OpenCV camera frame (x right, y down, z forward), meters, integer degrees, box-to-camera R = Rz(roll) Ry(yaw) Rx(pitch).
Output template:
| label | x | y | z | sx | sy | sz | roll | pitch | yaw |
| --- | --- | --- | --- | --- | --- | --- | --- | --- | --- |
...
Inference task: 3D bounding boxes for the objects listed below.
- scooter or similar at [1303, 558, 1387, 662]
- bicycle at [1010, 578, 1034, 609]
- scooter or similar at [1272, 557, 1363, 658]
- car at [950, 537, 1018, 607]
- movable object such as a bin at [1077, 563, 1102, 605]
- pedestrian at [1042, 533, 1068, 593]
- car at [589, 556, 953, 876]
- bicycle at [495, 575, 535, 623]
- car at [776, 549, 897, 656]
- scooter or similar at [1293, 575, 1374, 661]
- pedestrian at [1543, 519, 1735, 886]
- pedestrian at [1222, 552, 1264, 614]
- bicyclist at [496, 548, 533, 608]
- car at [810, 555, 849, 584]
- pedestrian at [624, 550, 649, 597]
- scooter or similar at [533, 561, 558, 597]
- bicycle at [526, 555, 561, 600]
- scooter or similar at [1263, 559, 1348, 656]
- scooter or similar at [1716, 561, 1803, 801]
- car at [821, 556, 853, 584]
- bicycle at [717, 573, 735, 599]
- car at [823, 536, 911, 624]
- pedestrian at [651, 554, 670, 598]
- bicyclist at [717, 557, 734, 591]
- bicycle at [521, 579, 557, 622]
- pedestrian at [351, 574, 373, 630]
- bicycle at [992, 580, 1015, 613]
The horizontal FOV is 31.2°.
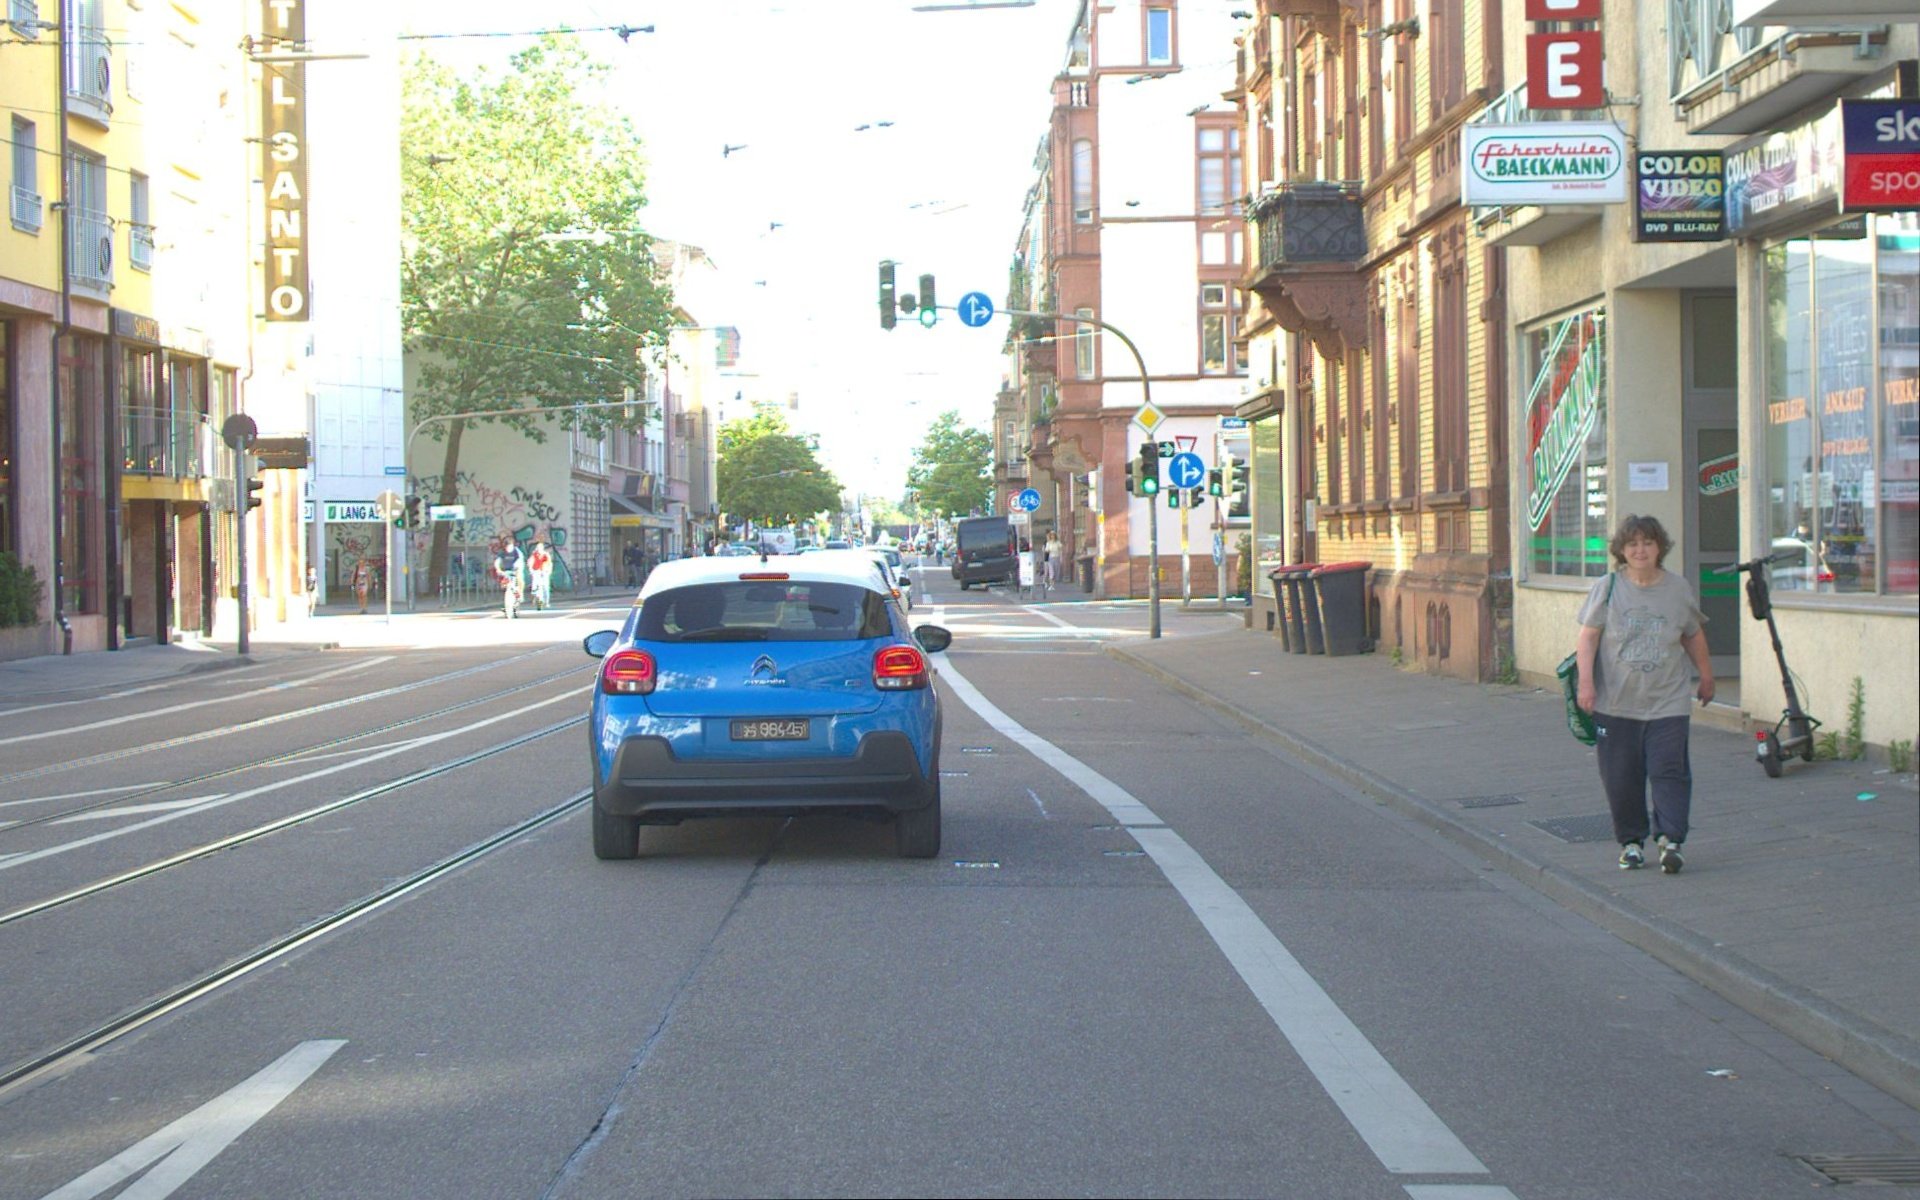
| label | x | y | z | sx | sy | sz | roll | pitch | yaw |
| --- | --- | --- | --- | --- | --- | --- | --- | --- | --- |
| scooter or similar | 4.504 | 0.109 | 40.244 | 0.790 | 1.144 | 0.790 | -4 | 1 | -2 |
| bicycle | 1.852 | -0.197 | 102.658 | 0.431 | 0.944 | 1.764 | 0 | 0 | -8 |
| scooter or similar | 4.337 | 0.087 | 41.755 | 0.933 | 1.144 | 0.650 | -4 | 1 | -2 |
| car | 0.825 | -1.010 | 123.027 | 2.271 | 2.428 | 5.720 | 0 | 1 | -1 |
| movable object such as a bin | 3.642 | -0.451 | 96.841 | 0.666 | 1.150 | 0.594 | 0 | 1 | 0 |
| pedestrian | 2.809 | -1.093 | 101.847 | 0.705 | 1.776 | 0.673 | -1 | 1 | -2 |
| car | -0.989 | 0.520 | 18.002 | 1.673 | 1.472 | 4.001 | 1 | 1 | -3 |
| bicycle | -10.267 | -0.033 | 79.339 | 0.730 | 1.084 | 2.062 | -1 | 1 | -2 |
| car | -1.785 | 0.014 | 49.728 | 1.667 | 1.473 | 4.000 | -1 | 1 | -2 |
| scooter or similar | 4.458 | 0.213 | 41.067 | 0.790 | 0.954 | 0.680 | -4 | 1 | -2 |
| pedestrian | 2.954 | 0.431 | 15.007 | 0.648 | 1.555 | 0.781 | -1 | 1 | -2 |
| pedestrian | 6.687 | -0.409 | 81.209 | 0.938 | 1.452 | 0.823 | 0 | 1 | 1 |
| bicyclist | -10.275 | -0.517 | 79.268 | 0.724 | 1.376 | 1.228 | 0 | 1 | -2 |
| car | -6.789 | -1.586 | 178.960 | 1.985 | 1.497 | 4.309 | -1 | 1 | -2 |
| pedestrian | -12.256 | -0.995 | 130.164 | 0.682 | 1.759 | 1.025 | 0 | 1 | 10 |
| scooter or similar | -14.792 | -0.743 | 122.680 | 0.788 | 1.267 | 1.075 | -1 | 1 | -1 |
| bicycle | -10.898 | -0.596 | 89.943 | 0.730 | 1.179 | 2.062 | -1 | 1 | -2 |
| scooter or similar | 4.310 | 0.089 | 42.902 | 0.897 | 1.144 | 0.547 | -4 | 1 | -2 |
| scooter or similar | 4.440 | 0.428 | 19.062 | 0.410 | 1.277 | 1.283 | 0 | 1 | 15 |
| car | -7.835 | -1.903 | 218.615 | 1.993 | 1.738 | 4.563 | 0 | 1 | -2 |
| bicycle | -10.042 | -0.603 | 147.785 | 0.692 | 1.116 | 2.084 | 0 | 1 | -2 |
| car | -2.216 | -0.490 | 81.381 | 1.993 | 2.007 | 4.000 | -1 | 1 | -2 |
| pedestrian | -12.094 | -0.957 | 138.711 | 0.710 | 1.758 | 0.570 | -1 | 0 | -2 |
| bicyclist | -10.064 | -1.126 | 147.729 | 0.682 | 1.478 | 0.778 | 0 | 1 | -2 |
| bicycle | -10.726 | 0.002 | 87.644 | 0.730 | 1.062 | 2.062 | 0 | 0 | -2 |
| pedestrian | -16.494 | 0.049 | 94.866 | 0.542 | 1.547 | 0.516 | 0 | 0 | -2 |
| bicycle | 1.297 | -0.109 | 102.551 | 0.431 | 0.944 | 1.764 | 0 | 1 | -8 |
